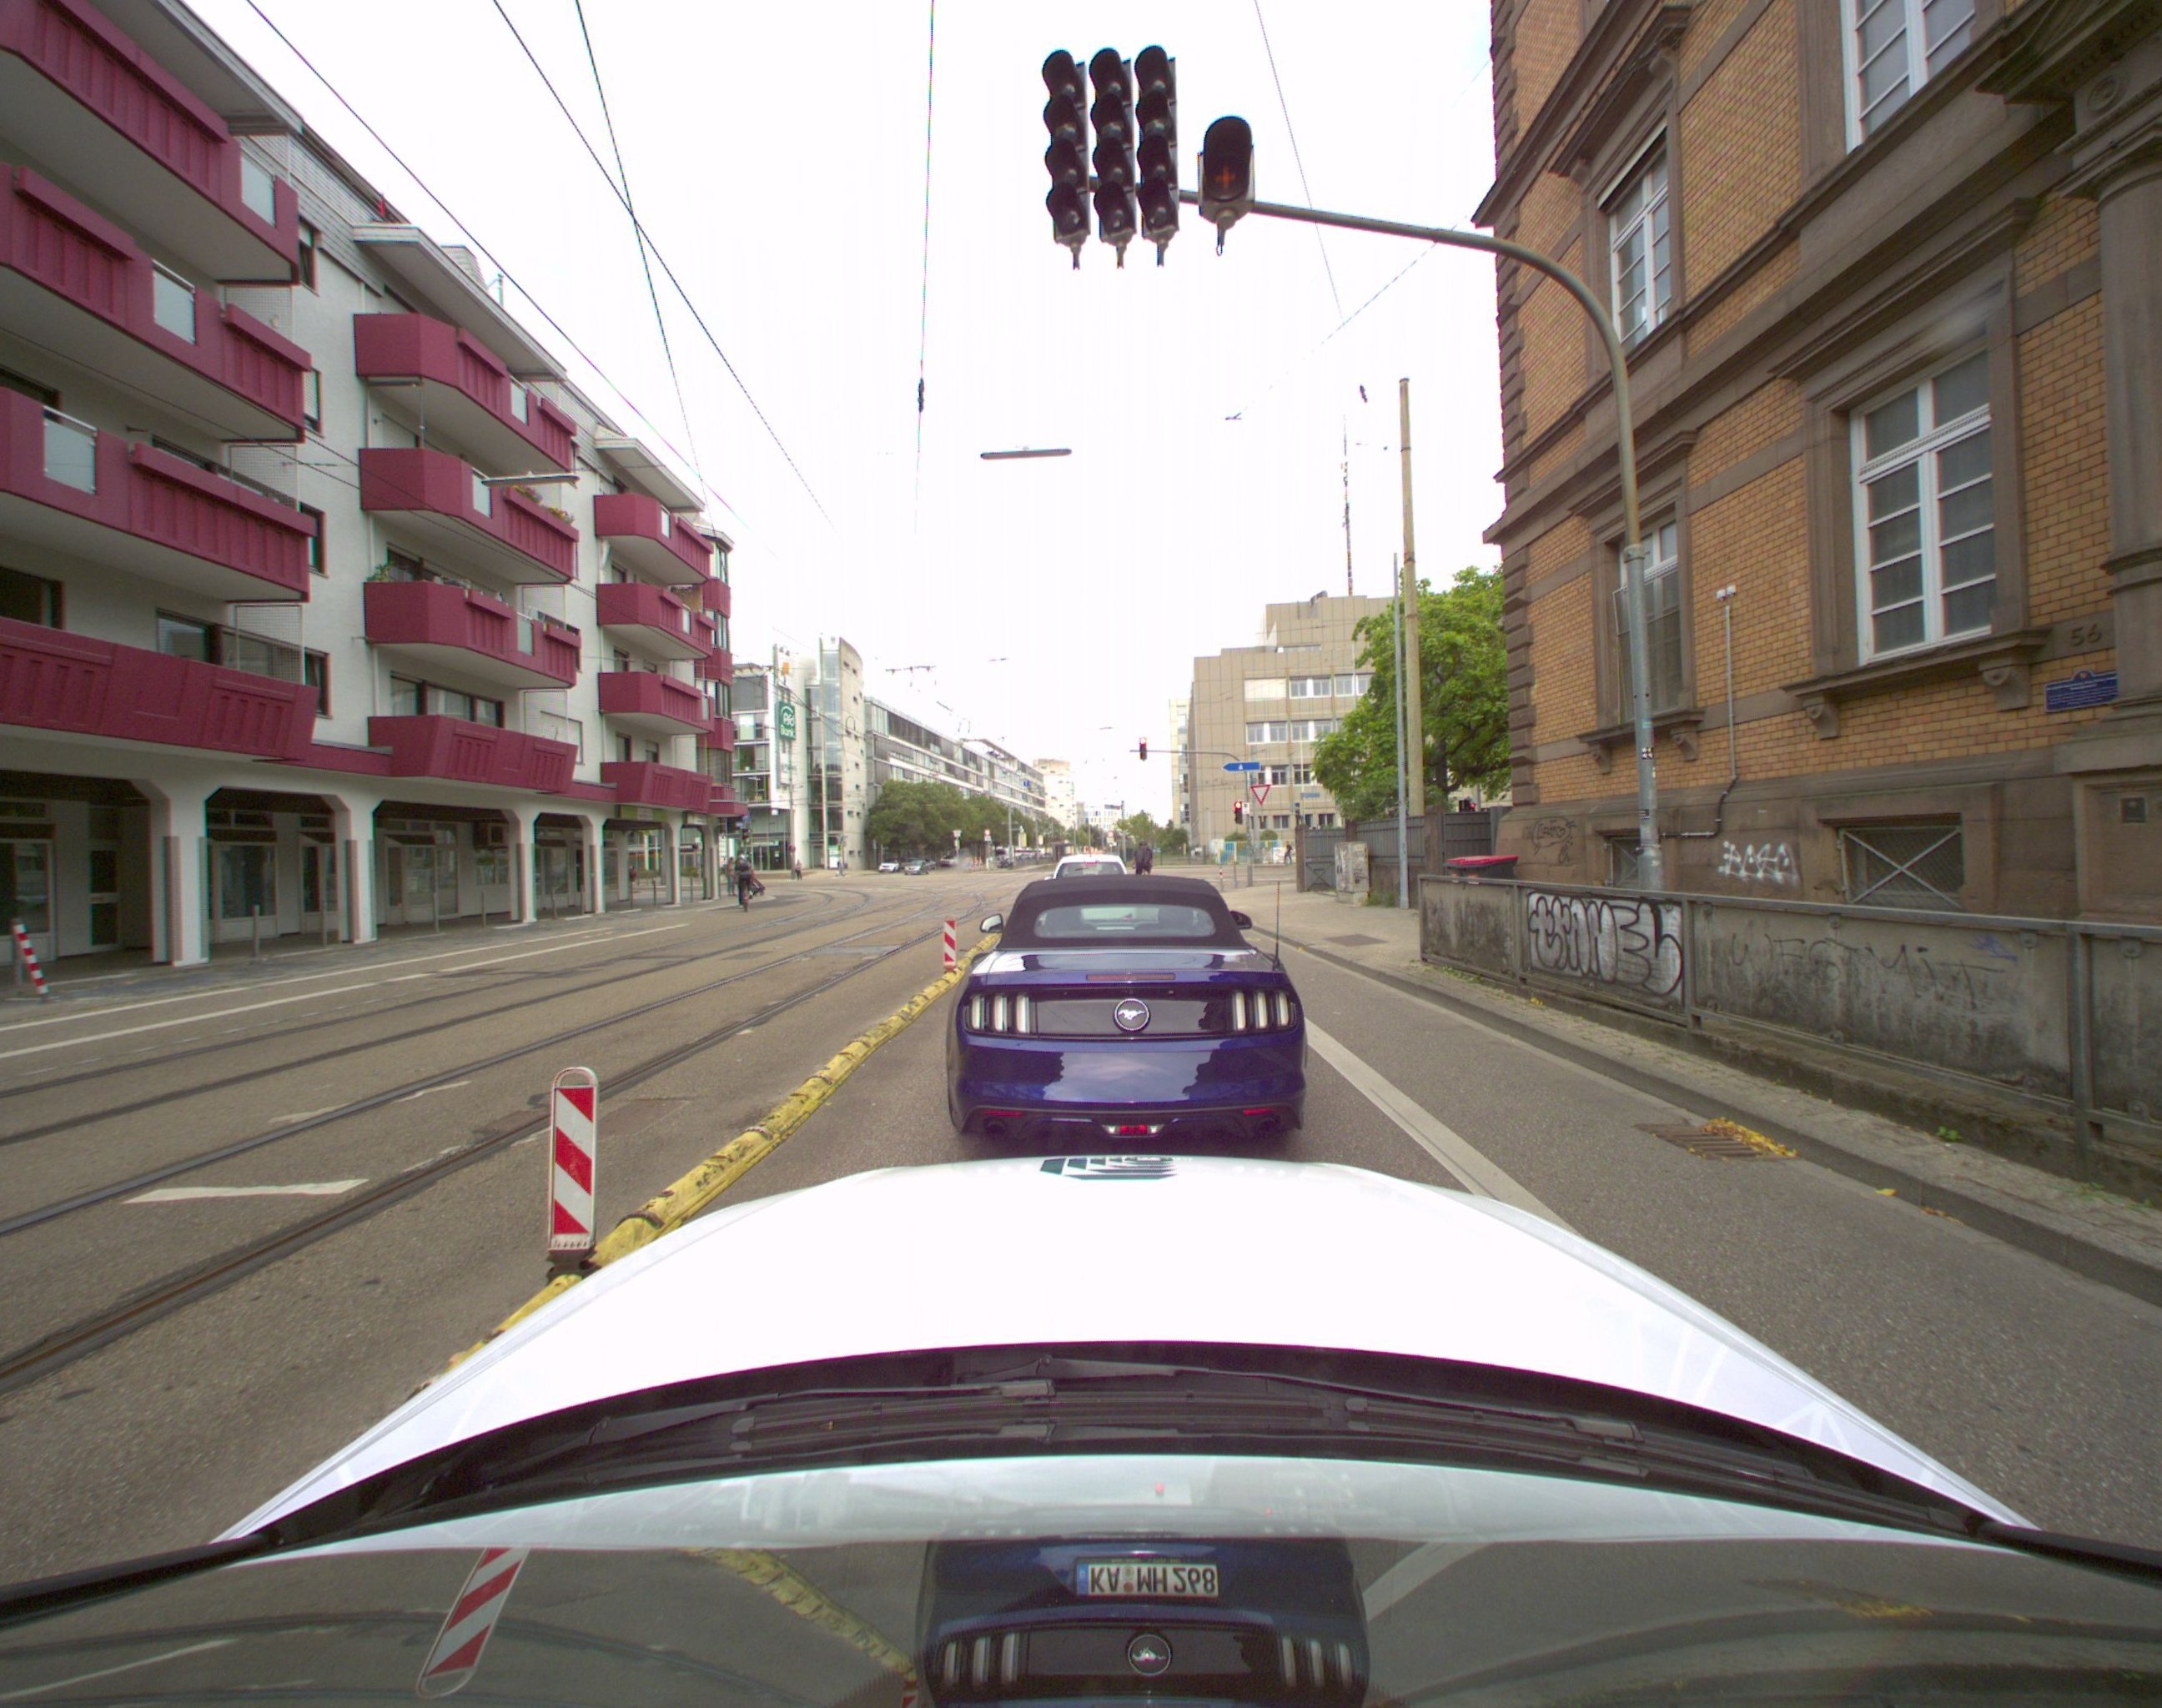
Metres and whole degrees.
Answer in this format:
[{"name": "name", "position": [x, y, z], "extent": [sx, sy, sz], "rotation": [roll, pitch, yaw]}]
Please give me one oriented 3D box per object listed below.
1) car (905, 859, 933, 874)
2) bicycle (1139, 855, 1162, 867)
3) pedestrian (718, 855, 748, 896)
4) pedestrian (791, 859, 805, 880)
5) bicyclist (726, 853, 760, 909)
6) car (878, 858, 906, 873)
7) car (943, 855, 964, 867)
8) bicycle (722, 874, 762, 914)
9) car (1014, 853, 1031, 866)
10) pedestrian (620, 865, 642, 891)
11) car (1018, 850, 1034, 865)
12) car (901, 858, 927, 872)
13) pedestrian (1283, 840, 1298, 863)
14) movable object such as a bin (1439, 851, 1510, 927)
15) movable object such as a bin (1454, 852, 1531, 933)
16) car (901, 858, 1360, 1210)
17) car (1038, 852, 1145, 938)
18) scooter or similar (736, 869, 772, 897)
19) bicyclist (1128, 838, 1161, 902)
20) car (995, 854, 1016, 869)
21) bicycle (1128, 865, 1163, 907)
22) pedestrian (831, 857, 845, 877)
[{"name": "car", "position": [-16.578, 1.280, 83.606], "extent": [1.659, 1.506, 4.242], "rotation": [0, 0, 6]}, {"name": "bicycle", "position": [6.191, 0.643, 72.752], "extent": [0.637, 0.981, 2.133], "rotation": [-2, -2, -40]}, {"name": "pedestrian", "position": [-15.226, 0.940, 35.643], "extent": [0.945, 1.743, 0.811], "rotation": [-2, 0, -2]}, {"name": "pedestrian", "position": [-25.363, 1.381, 72.921], "extent": [0.828, 1.865, 0.769], "rotation": [-2, 0, 14]}, {"name": "bicyclist", "position": [-10.373, 0.817, 25.010], "extent": [0.751, 1.651, 1.050], "rotation": [-2, 0, -14]}, {"name": "car", "position": [-21.220, 1.273, 91.681], "extent": [1.820, 1.556, 4.223], "rotation": [0, 0, 6]}, {"name": "car", "position": [-18.299, 0.978, 117.000], "extent": [1.978, 1.556, 4.516], "rotation": [0, 0, 3]}, {"name": "bicycle", "position": [-10.364, 1.204, 24.993], "extent": [0.763, 1.086, 2.350], "rotation": [-2, 0, -14]}, {"name": "car", "position": [-8.007, 0.708, 111.308], "extent": [1.861, 1.605, 4.214], "rotation": [-2, 0, 2]}, {"name": "pedestrian", "position": [-29.393, 1.565, 53.213], "extent": [0.928, 1.671, 0.769], "rotation": [-2, 0, 14]}, {"name": "car", "position": [-7.834, 0.463, 116.357], "extent": [1.778, 1.987, 4.123], "rotation": [-2, 0, 2]}, {"name": "car", "position": [-20.258, 1.288, 98.836], "extent": [1.820, 1.556, 4.223], "rotation": [0, 0, 6]}, {"name": "pedestrian", "position": [17.403, -0.227, 67.710], "extent": [1.080, 1.898, 0.903], "rotation": [-2, 0, 7]}, {"name": "movable object such as a bin", "position": [6.052, 0.534, 12.559], "extent": [0.649, 1.082, 0.677], "rotation": [-5, -1, -4]}, {"name": "movable object such as a bin", "position": [5.971, 0.540, 11.844], "extent": [0.662, 1.082, 0.700], "rotation": [-5, -1, -3]}, {"name": "car", "position": [0.280, 0.752, 5.488], "extent": [1.869, 1.404, 4.284], "rotation": [-1, 0, 2]}, {"name": "car", "position": [0.109, 0.713, 16.316], "extent": [1.831, 1.439, 4.183], "rotation": [-2, 0, -2]}, {"name": "scooter or similar", "position": [-14.332, 1.261, 35.694], "extent": [1.192, 1.128, 0.946], "rotation": [-1, 0, -1]}, {"name": "bicyclist", "position": [1.813, 0.444, 23.556], "extent": [0.793, 1.785, 1.233], "rotation": [-2, 0, 0]}, {"name": "car", "position": [-9.020, 0.892, 97.670], "extent": [1.872, 1.628, 4.089], "rotation": [-2, 0, 2]}, {"name": "bicycle", "position": [1.831, 0.898, 23.383], "extent": [0.798, 1.086, 2.131], "rotation": [-2, 0, 0]}, {"name": "pedestrian", "position": [-23.205, 1.265, 77.795], "extent": [0.983, 1.855, 0.904], "rotation": [-2, 0, 8]}]
